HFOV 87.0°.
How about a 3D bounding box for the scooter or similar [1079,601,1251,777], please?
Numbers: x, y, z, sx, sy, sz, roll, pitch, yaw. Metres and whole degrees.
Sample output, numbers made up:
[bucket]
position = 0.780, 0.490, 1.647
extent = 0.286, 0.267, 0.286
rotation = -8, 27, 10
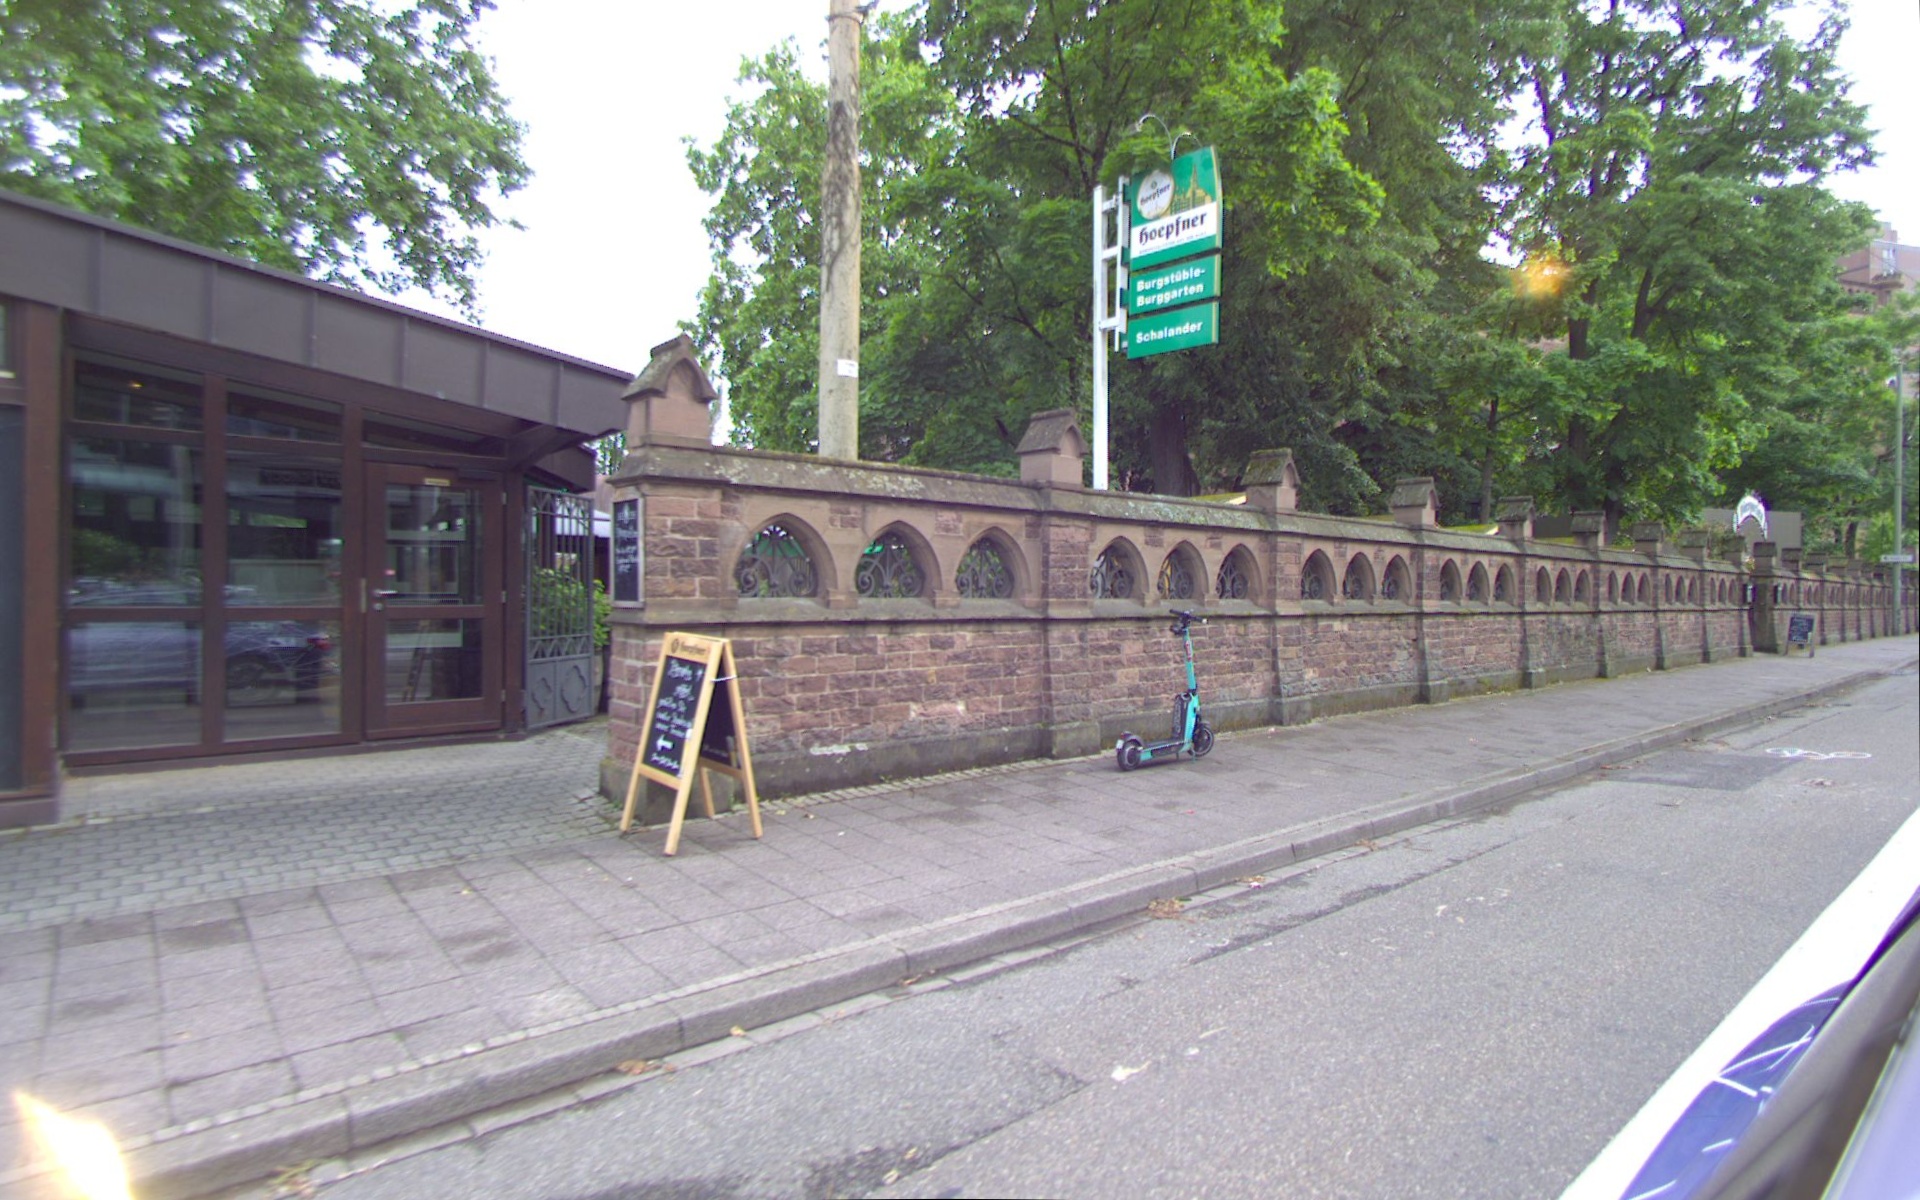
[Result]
[scooter or similar]
position = 1.669, 0.662, 8.150
extent = 1.385, 1.254, 0.578
rotation = 0, 3, -40
